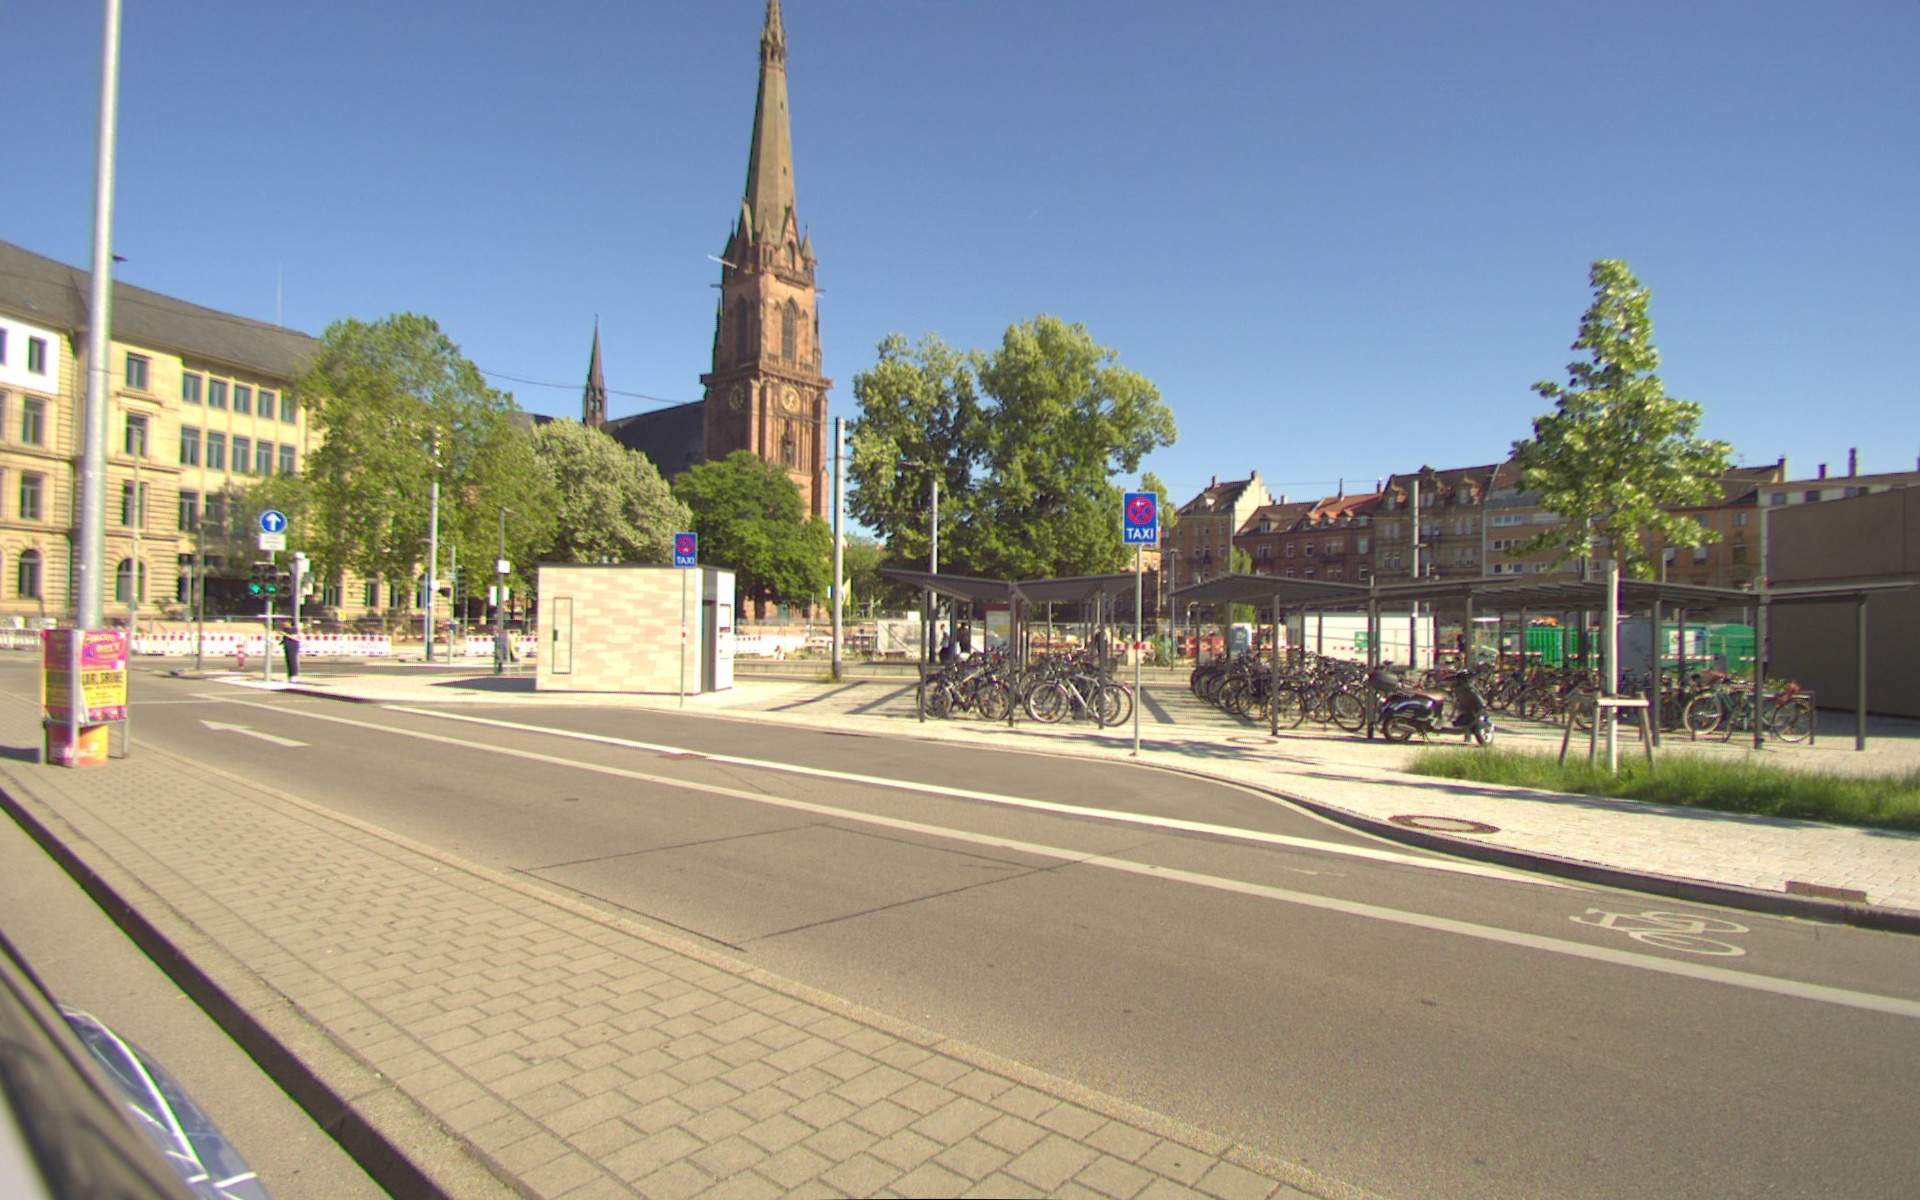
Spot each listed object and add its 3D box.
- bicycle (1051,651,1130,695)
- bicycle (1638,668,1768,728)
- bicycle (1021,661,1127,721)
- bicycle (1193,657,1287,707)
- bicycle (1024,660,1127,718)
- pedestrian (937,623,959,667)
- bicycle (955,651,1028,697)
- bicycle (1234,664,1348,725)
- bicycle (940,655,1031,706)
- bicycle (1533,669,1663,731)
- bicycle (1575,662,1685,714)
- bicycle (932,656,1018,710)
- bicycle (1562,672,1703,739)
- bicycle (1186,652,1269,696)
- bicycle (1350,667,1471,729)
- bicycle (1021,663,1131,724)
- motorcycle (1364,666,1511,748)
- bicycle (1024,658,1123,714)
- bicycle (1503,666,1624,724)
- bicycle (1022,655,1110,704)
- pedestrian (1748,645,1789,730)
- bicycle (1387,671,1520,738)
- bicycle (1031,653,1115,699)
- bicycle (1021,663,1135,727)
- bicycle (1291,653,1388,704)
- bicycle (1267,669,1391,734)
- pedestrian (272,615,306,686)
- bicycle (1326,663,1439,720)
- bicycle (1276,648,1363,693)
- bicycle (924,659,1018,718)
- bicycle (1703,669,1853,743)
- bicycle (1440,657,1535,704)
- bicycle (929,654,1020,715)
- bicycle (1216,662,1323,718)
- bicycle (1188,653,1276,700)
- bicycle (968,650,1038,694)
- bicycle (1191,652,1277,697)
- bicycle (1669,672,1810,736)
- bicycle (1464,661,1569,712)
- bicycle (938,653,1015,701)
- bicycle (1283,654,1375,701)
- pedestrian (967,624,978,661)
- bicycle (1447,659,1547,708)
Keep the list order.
[{"bbox_3d":[3.158,1.774,24.607,1.882,1.016,0.456,0,-2,8],"label":"bicycle"},{"bbox_3d":[13.466,1.774,18.373,1.882,1.016,0.456,0,-2,8],"label":"bicycle"},{"bbox_3d":[2.051,1.631,18.269,1.882,1.016,0.456,0,-2,8],"label":"bicycle"},{"bbox_3d":[5.962,1.744,21.618,1.882,1.016,0.456,0,-2,8],"label":"bicycle"},{"bbox_3d":[2.134,1.643,18.752,1.882,1.016,0.456,0,-2,8],"label":"bicycle"},{"bbox_3d":[-0.485,1.820,41.191,0.792,1.793,0.977,0,-2,3],"label":"pedestrian"},{"bbox_3d":[0.743,1.707,23.490,1.652,1.016,0.456,0,-2,8],"label":"bicycle"},{"bbox_3d":[5.896,1.681,18.101,1.882,1.016,0.456,0,-2,8],"label":"bicycle"},{"bbox_3d":[0.540,1.673,21.235,1.882,1.016,0.456,0,-2,8],"label":"bicycle"},{"bbox_3d":[11.098,1.730,17.650,1.882,1.016,0.456,0,-2,8],"label":"bicycle"},{"bbox_3d":[13.870,1.816,20.980,1.882,1.016,0.456,0,-2,8],"label":"bicycle"},{"bbox_3d":[0.302,1.618,19.896,1.652,1.016,0.456,0,-2,8],"label":"bicycle"},{"bbox_3d":[10.969,1.715,16.545,1.882,1.016,0.456,0,-2,8],"label":"bicycle"},{"bbox_3d":[6.390,1.759,24.234,1.882,1.016,0.456,0,-2,8],"label":"bicycle"},{"bbox_3d":[7.891,1.707,17.772,1.882,1.016,0.456,0,-2,8],"label":"bicycle"},{"bbox_3d":[2.016,1.622,17.682,1.882,1.016,0.456,0,-2,8],"label":"bicycle"},{"bbox_3d":[7.158,1.600,15.234,1.924,1.160,0.516,0,-2,6],"label":"motorcycle"},{"bbox_3d":[2.193,1.657,19.593,1.882,1.016,0.456,0,-2,8],"label":"bicycle"},{"bbox_3d":[11.161,1.754,18.766,1.882,1.016,0.456,0,-2,8],"label":"bicycle"},{"bbox_3d":[2.294,1.720,21.929,1.882,1.016,0.456,0,-2,8],"label":"bicycle"},{"bbox_3d":[19.772,2.112,24.748,0.718,2.029,0.678,-1,-3,41],"label":"pedestrian"},{"bbox_3d":[8.025,1.689,16.502,1.882,1.016,0.456,0,-2,8],"label":"bicycle"},{"bbox_3d":[2.603,1.745,23.312,1.882,1.016,0.456,0,-2,8],"label":"bicycle"},{"bbox_3d":[1.986,1.600,17.122,1.882,1.016,0.456,0,-2,8],"label":"bicycle"},{"bbox_3d":[8.054,1.658,21.528,1.882,1.016,0.456,0,-2,8],"label":"bicycle"},{"bbox_3d":[6.118,1.680,16.848,1.882,1.016,0.456,0,-2,8],"label":"bicycle"},{"bbox_3d":[-18.109,1.349,27.314,0.683,1.868,0.680,2,-2,-38],"label":"pedestrian"},{"bbox_3d":[7.915,1.710,19.005,1.882,1.016,0.456,0,-2,8],"label":"bicycle"},{"bbox_3d":[8.483,1.649,23.919,1.882,1.016,0.456,0,-2,8],"label":"bicycle"},{"bbox_3d":[0.198,1.583,18.199,1.652,1.016,0.456,0,-2,8],"label":"bicycle"},{"bbox_3d":[13.079,1.683,16.215,1.882,1.106,0.456,0,-2,8],"label":"bicycle"},{"bbox_3d":[12.075,1.833,23.203,1.882,1.016,0.456,0,-2,8],"label":"bicycle"},{"bbox_3d":[0.277,1.557,18.785,1.652,1.069,0.456,0,-2,8],"label":"bicycle"},{"bbox_3d":[5.894,1.706,19.331,1.882,1.016,0.456,0,-2,8],"label":"bicycle"},{"bbox_3d":[6.145,1.735,22.952,1.882,1.016,0.456,0,-2,8],"label":"bicycle"},{"bbox_3d":[1.038,1.712,24.234,1.652,1.016,0.456,0,-2,8],"label":"bicycle"},{"bbox_3d":[6.362,1.729,23.576,1.882,1.016,0.456,0,-2,8],"label":"bicycle"},{"bbox_3d":[13.125,1.741,17.074,1.882,1.016,0.456,0,-2,8],"label":"bicycle"},{"bbox_3d":[11.711,1.812,21.322,1.882,1.016,0.456,0,-2,8],"label":"bicycle"},{"bbox_3d":[0.368,1.688,22.232,1.652,1.016,0.456,0,-2,8],"label":"bicycle"},{"bbox_3d":[8.312,1.733,22.826,1.882,1.016,0.456,0,-2,8],"label":"bicycle"},{"bbox_3d":[0.581,1.990,47.624,0.399,1.734,0.419,1,-2,-11],"label":"pedestrian"},{"bbox_3d":[11.780,1.822,22.252,1.882,1.016,0.456,0,-2,8],"label":"bicycle"}]
